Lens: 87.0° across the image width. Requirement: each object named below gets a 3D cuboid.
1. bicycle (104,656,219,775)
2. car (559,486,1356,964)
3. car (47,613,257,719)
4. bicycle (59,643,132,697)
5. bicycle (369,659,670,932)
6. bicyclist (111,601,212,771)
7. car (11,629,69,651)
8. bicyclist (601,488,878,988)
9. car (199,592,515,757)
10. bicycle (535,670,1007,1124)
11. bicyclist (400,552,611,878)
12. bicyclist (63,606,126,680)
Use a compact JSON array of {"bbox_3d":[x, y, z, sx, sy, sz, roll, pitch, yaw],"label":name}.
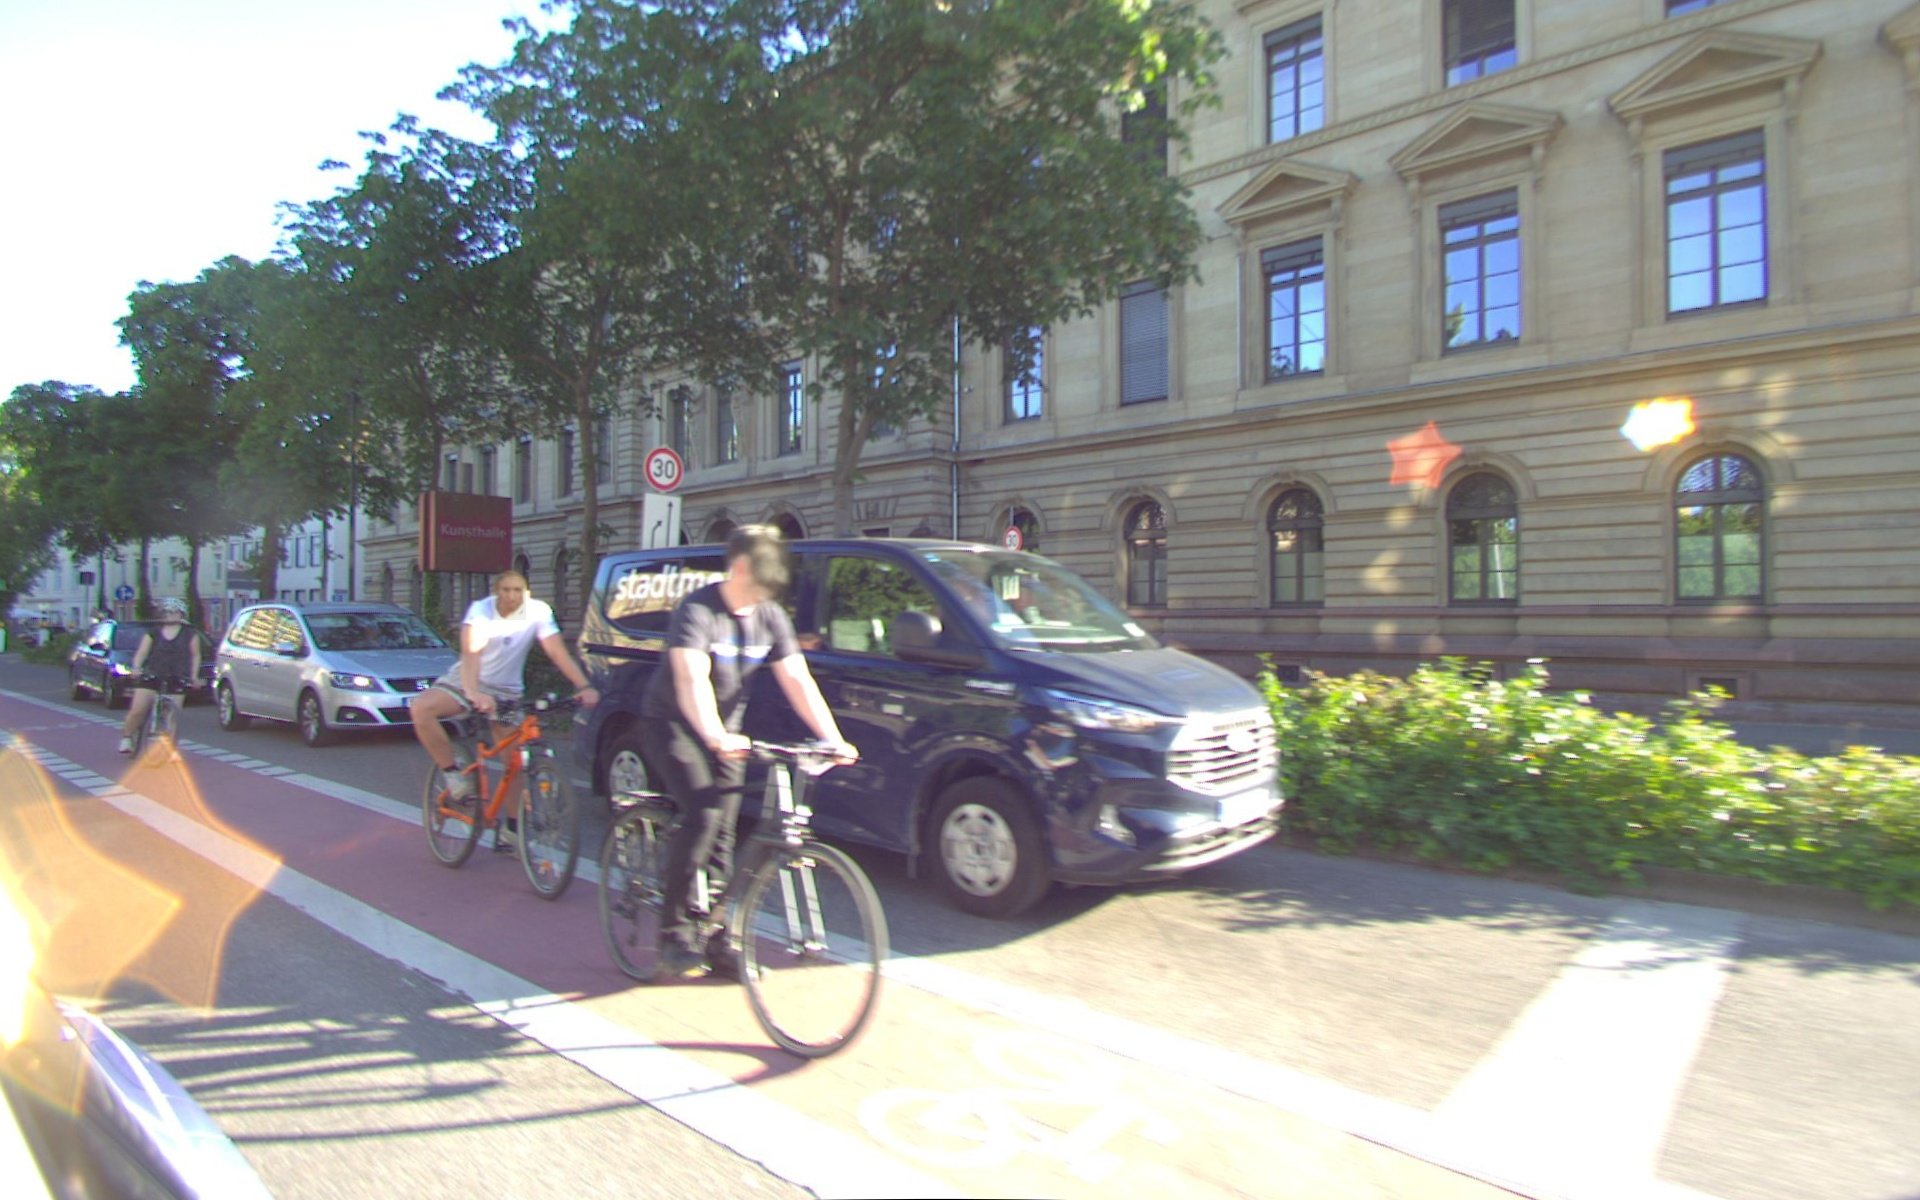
[{"bbox_3d":[-8.321,1.155,10.523,1.753,1.081,0.662,-1,-2,42],"label":"bicycle"},{"bbox_3d":[-0.343,0.552,6.526,5.030,1.930,2.047,-1,-2,41],"label":"car"},{"bbox_3d":[-14.672,1.105,18.284,4.731,1.670,1.974,-1,-2,39],"label":"car"},{"bbox_3d":[-18.637,1.475,21.795,2.452,1.050,0.861,-1,-1,41],"label":"bicycle"},{"bbox_3d":[-2.467,0.936,5.538,1.970,1.152,0.819,-2,-2,44],"label":"bicycle"},{"bbox_3d":[-8.235,0.850,10.439,0.887,1.665,0.665,-2,-2,42],"label":"bicyclist"},{"bbox_3d":[-67.911,2.951,74.720,4.369,1.583,1.802,-1,-2,28],"label":"car"},{"bbox_3d":[-0.836,0.459,3.820,0.825,1.620,0.662,-2,-3,44],"label":"bicyclist"},{"bbox_3d":[-7.914,0.869,13.103,4.741,1.763,1.972,-1,-3,39],"label":"car"},{"bbox_3d":[-0.819,0.886,3.757,2.077,1.164,0.635,-2,-2,44],"label":"bicycle"},{"bbox_3d":[-2.527,0.590,5.635,0.825,1.620,0.794,-2,-3,44],"label":"bicyclist"},{"bbox_3d":[-18.634,0.907,21.780,1.230,1.535,0.858,-1,0,41],"label":"bicyclist"}]
